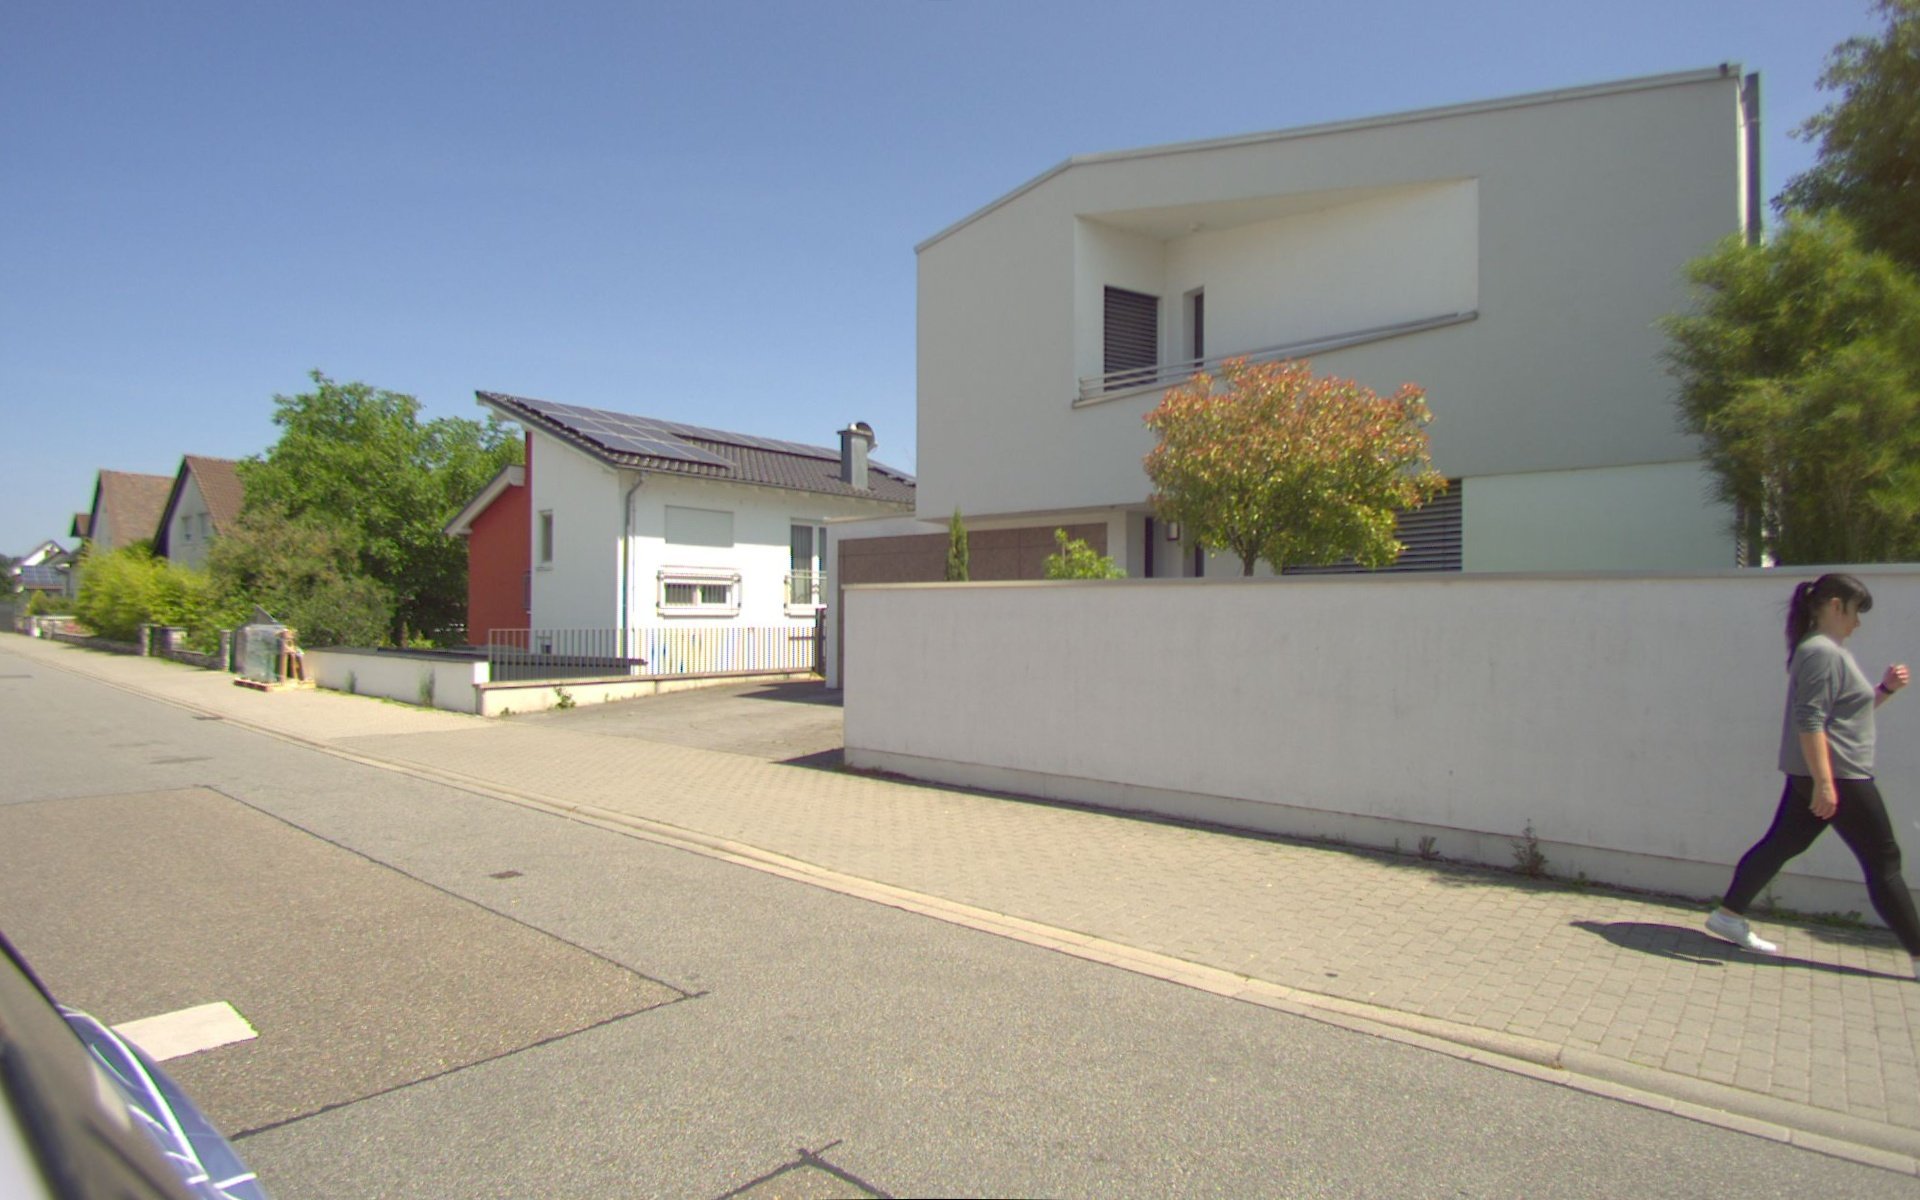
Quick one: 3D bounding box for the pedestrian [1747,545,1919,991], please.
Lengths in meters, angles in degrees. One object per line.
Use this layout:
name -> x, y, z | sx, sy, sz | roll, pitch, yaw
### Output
pedestrian -> 3.986, 0.667, 4.305 | 0.960, 1.760, 0.707 | 0, -1, 42
